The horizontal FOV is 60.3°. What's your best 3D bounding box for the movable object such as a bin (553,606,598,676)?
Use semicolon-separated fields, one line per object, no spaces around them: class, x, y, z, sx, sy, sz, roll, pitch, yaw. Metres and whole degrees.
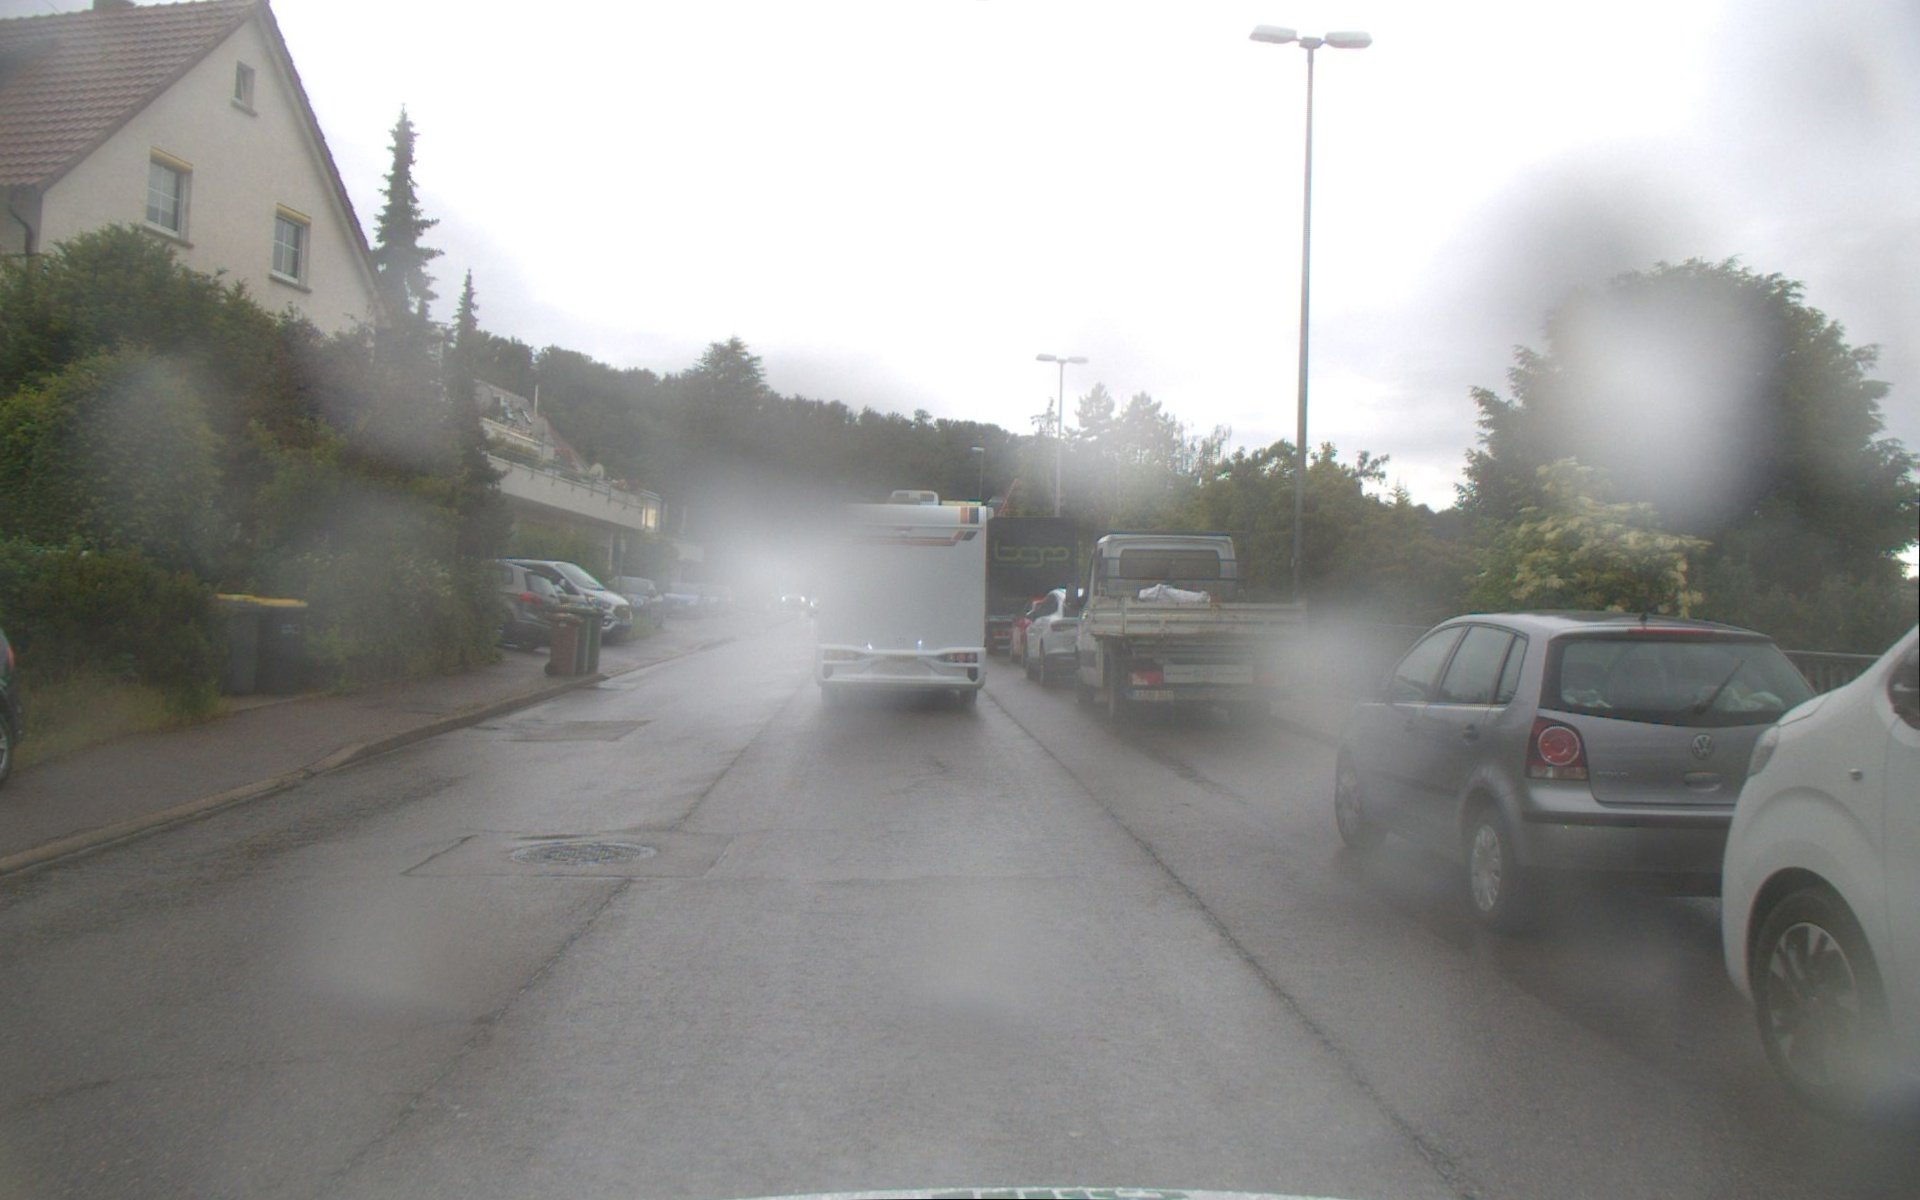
movable object such as a bin;-6.131;0.648;26.382;0.591;1.082;0.637;2;0;-7

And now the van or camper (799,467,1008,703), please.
van or camper;-0.819;-0.119;24.110;2.563;2.903;6.028;2;-2;-2

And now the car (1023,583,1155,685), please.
car;2.177;0.559;29.078;1.724;1.632;4.663;0;0;-3

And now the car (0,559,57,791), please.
car;-7.533;0.513;10.094;1.767;1.625;4.415;0;0;-3

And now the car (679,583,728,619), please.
car;-11.573;0.032;74.841;1.601;1.420;4.237;5;0;-2

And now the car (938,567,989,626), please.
car;0.102;-0.156;73.788;1.990;2.549;5.952;0;0;-3

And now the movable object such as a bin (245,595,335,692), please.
movable object such as a bin;-7.848;0.498;19.398;0.683;1.102;0.710;1;0;16

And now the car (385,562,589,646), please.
car;-10.666;0.097;37.399;3.969;1.667;1.895;3;-1;14

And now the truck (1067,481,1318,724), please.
truck;2.786;0.042;21.585;2.194;2.677;6.536;0;0;-2

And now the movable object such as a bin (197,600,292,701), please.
movable object such as a bin;-8.082;0.560;18.700;0.683;1.102;0.710;1;0;16

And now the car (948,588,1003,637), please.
car;0.516;0.417;60.197;1.897;1.701;4.693;0;0;-1

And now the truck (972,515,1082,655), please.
truck;1.654;-0.358;44.233;2.387;3.394;7.962;0;0;-2

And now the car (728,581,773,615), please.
car;-10.483;-0.111;83.026;1.739;1.461;4.586;6;0;-2

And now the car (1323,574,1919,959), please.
car;3.221;0.699;8.838;1.614;1.590;3.962;0;0;-1

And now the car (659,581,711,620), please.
car;-11.406;-0.006;68.786;1.576;1.459;3.956;5;0;-3

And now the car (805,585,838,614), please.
car;-8.202;-0.047;98.319;1.869;1.635;4.424;2;0;-5

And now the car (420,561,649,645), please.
car;-10.370;0.062;40.415;4.976;1.978;2.143;0;0;14

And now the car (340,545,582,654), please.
car;-9.700;0.001;32.299;3.969;1.721;1.895;5;0;11

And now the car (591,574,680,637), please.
car;-9.832;0.145;50.344;1.655;1.615;4.197;8;0;0

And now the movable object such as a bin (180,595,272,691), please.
movable object such as a bin;-8.673;0.494;19.559;0.683;1.102;0.710;1;0;16

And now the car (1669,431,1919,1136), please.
car;3.606;0.498;3.471;1.813;1.915;4.905;0;0;-5

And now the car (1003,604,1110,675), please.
car;2.063;0.835;36.692;1.795;1.463;4.983;0;0;-3

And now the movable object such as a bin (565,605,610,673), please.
movable object such as a bin;-6.089;0.631;27.064;0.591;1.082;0.697;2;0;-7

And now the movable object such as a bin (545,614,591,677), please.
movable object such as a bin;-6.068;0.699;25.629;0.591;0.944;0.563;2;0;-7
